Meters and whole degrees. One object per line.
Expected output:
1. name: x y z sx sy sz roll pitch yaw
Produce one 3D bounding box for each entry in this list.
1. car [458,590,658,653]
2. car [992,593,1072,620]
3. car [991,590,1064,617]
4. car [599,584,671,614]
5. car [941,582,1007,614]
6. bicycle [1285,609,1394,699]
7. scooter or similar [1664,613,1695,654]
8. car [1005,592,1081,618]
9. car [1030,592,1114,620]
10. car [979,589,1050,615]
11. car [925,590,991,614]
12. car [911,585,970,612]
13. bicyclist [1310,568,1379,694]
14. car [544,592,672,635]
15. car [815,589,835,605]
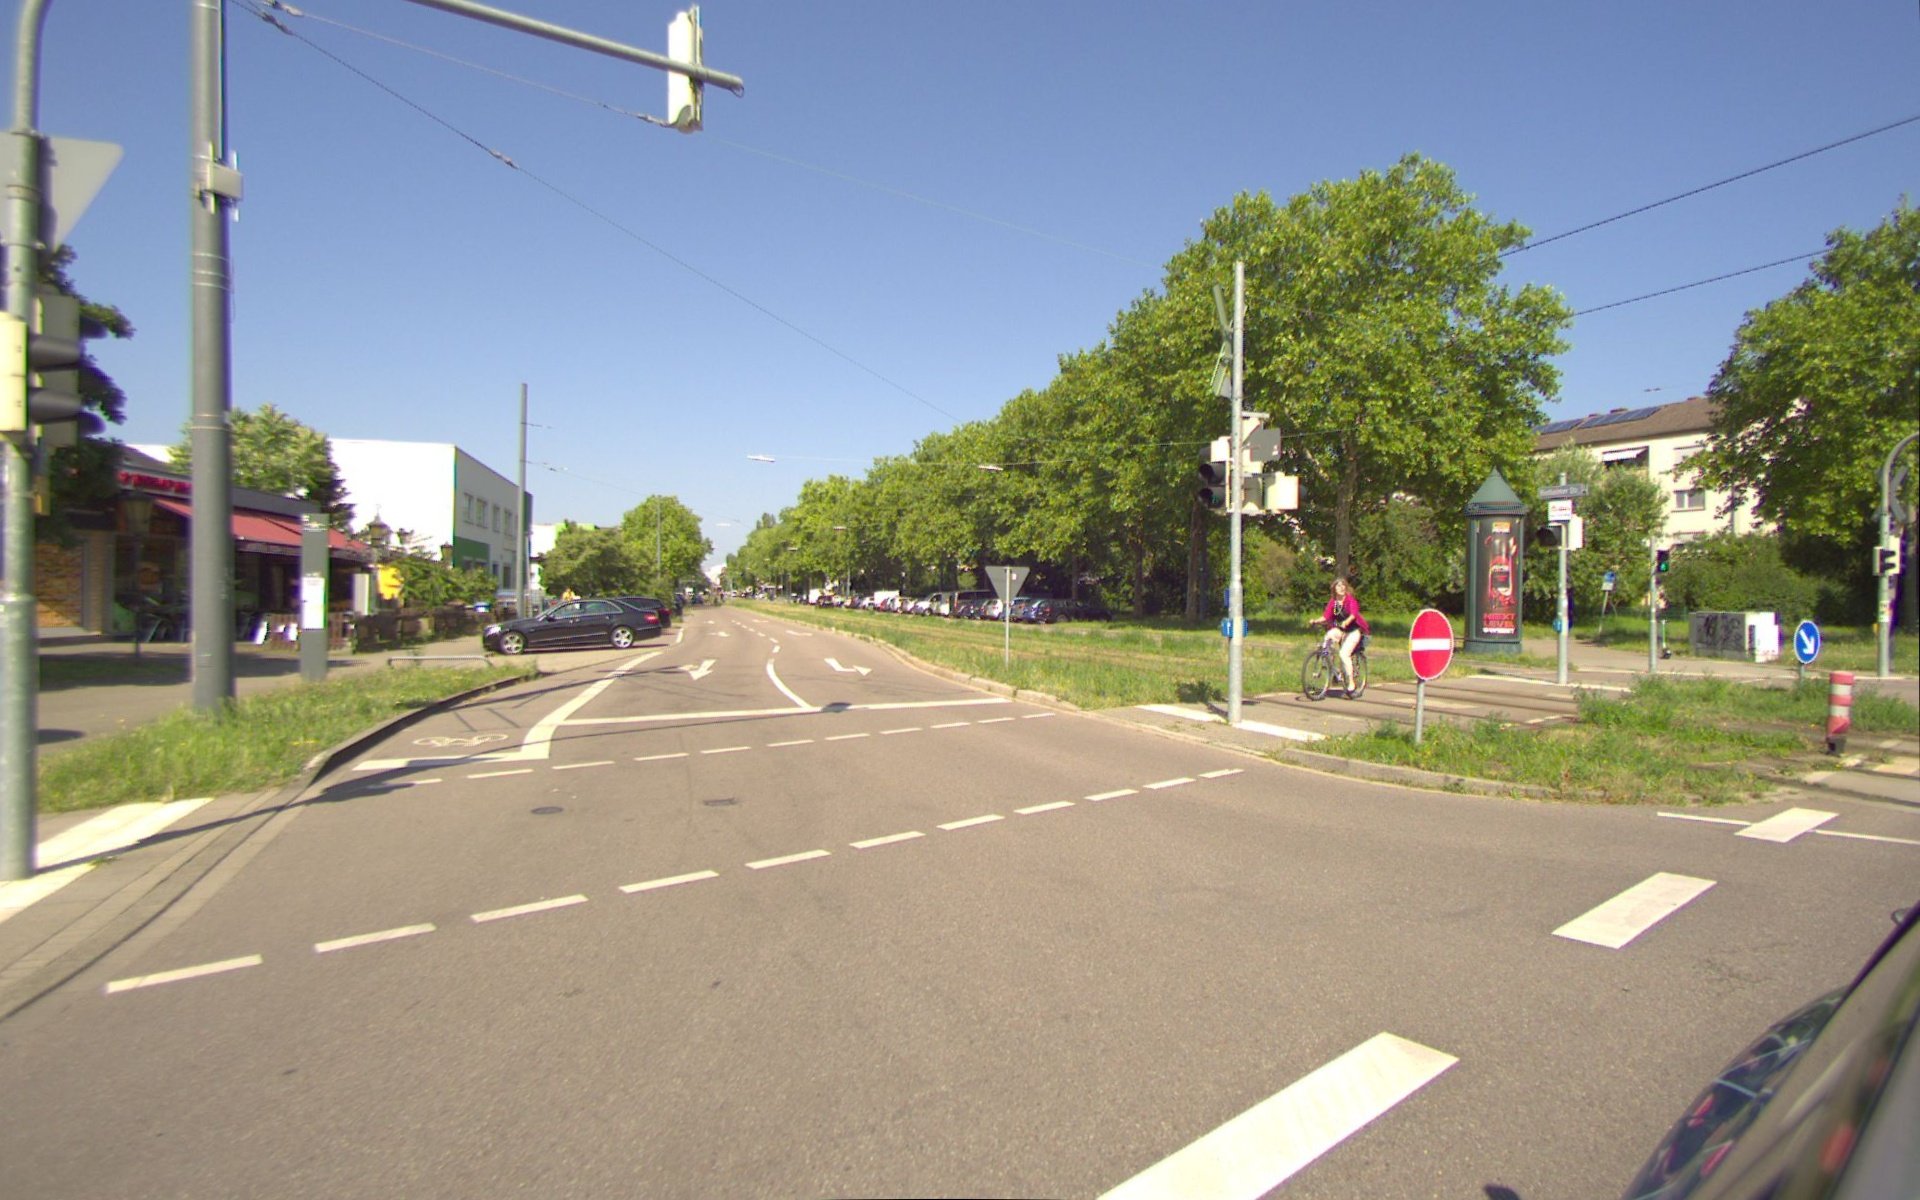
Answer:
1. car: -11.172 0.541 28.382 5.012 1.517 2.147 -2 1 -21
2. car: 4.235 0.366 59.394 4.264 1.509 2.004 0 0 -25
3. car: 4.315 0.216 64.875 4.264 1.654 2.003 0 -1 -25
4. car: -20.630 -0.049 64.303 3.934 1.817 1.994 0 -1 -44
5. car: 1.029 -0.147 75.703 4.493 2.318 2.004 0 0 -19
6. bicycle: 5.639 0.753 14.968 2.090 1.200 0.692 0 0 -44
7. scooter or similar: 21.460 0.978 30.208 0.512 1.156 1.433 -1 0 27
8. car: 5.113 0.289 62.224 4.264 1.509 2.004 0 0 -25
9. car: 6.267 0.323 56.645 4.265 1.509 2.004 -1 1 -25
10. car: 3.610 0.131 67.035 4.264 1.653 2.004 0 0 -25
11. car: -0.131 0.145 71.904 4.264 1.653 2.004 0 0 -25
12. car: -1.653 -0.156 84.277 4.494 2.237 2.004 0 0 -25
13. bicyclist: 5.710 0.437 15.027 0.797 1.809 0.701 0 0 -44
14. car: -13.377 0.473 38.598 4.135 1.517 2.138 -1 0 -43
15. car: -14.891 -0.302 111.349 1.756 1.676 4.007 0 -1 -15
